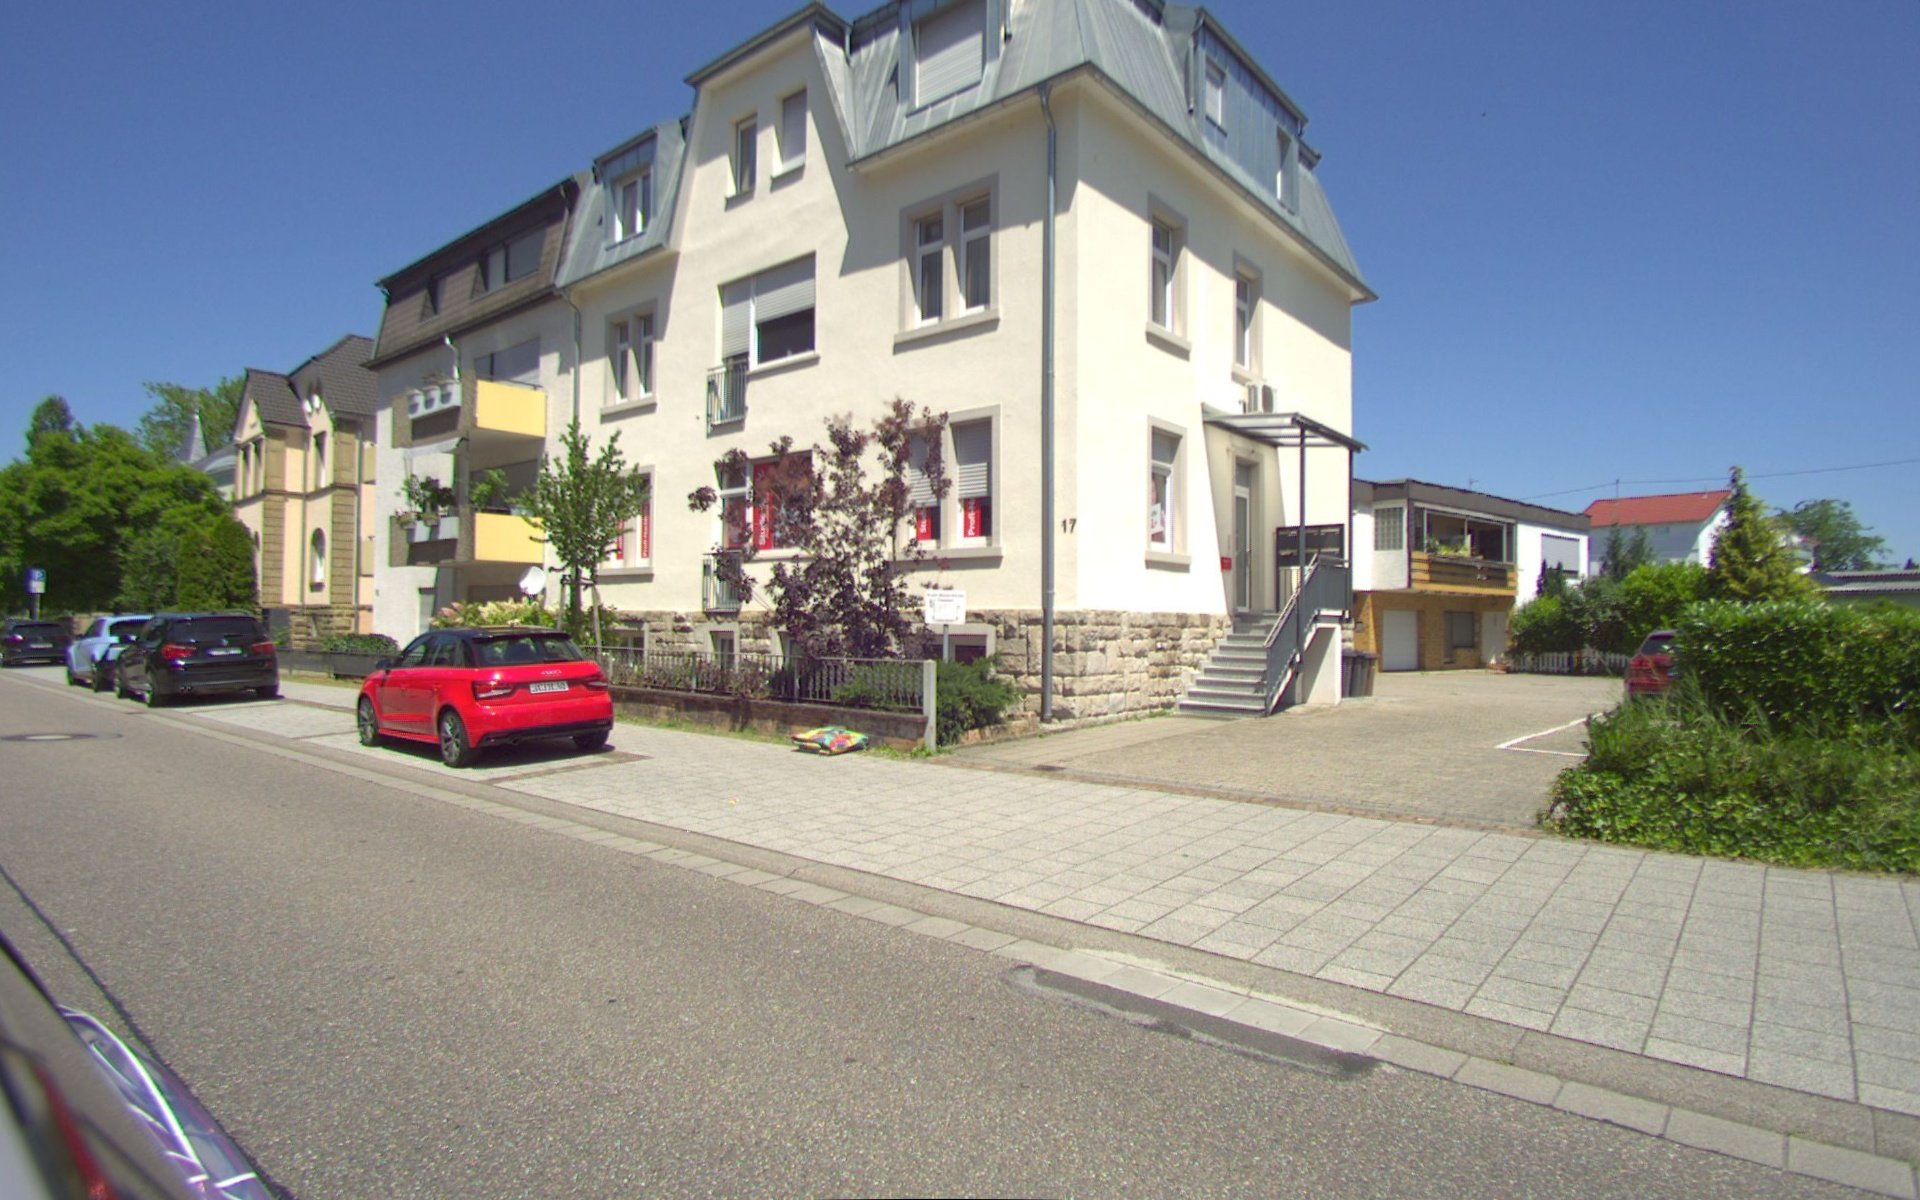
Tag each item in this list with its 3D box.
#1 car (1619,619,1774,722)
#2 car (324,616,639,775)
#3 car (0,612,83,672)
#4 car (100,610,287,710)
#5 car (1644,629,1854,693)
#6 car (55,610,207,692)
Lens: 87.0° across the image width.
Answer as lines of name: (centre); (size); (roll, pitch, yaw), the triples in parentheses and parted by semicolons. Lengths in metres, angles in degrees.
car: (12.350, 1.092, 16.905); (1.875, 1.486, 4.132); (-1, -2, 38)
car: (-5.664, 0.949, 11.735); (4.258, 1.463, 1.715); (-1, 1, 41)
car: (-29.361, 1.272, 32.003); (4.286, 1.703, 1.900); (-1, 1, 42)
car: (-14.388, 1.019, 18.899); (4.433, 1.598, 1.900); (-1, 1, 41)
car: (19.841, 1.476, 25.566); (4.042, 1.449, 1.930); (-1, -2, 40)
car: (-18.523, 1.068, 22.549); (4.285, 1.598, 1.900); (-1, 1, 41)
